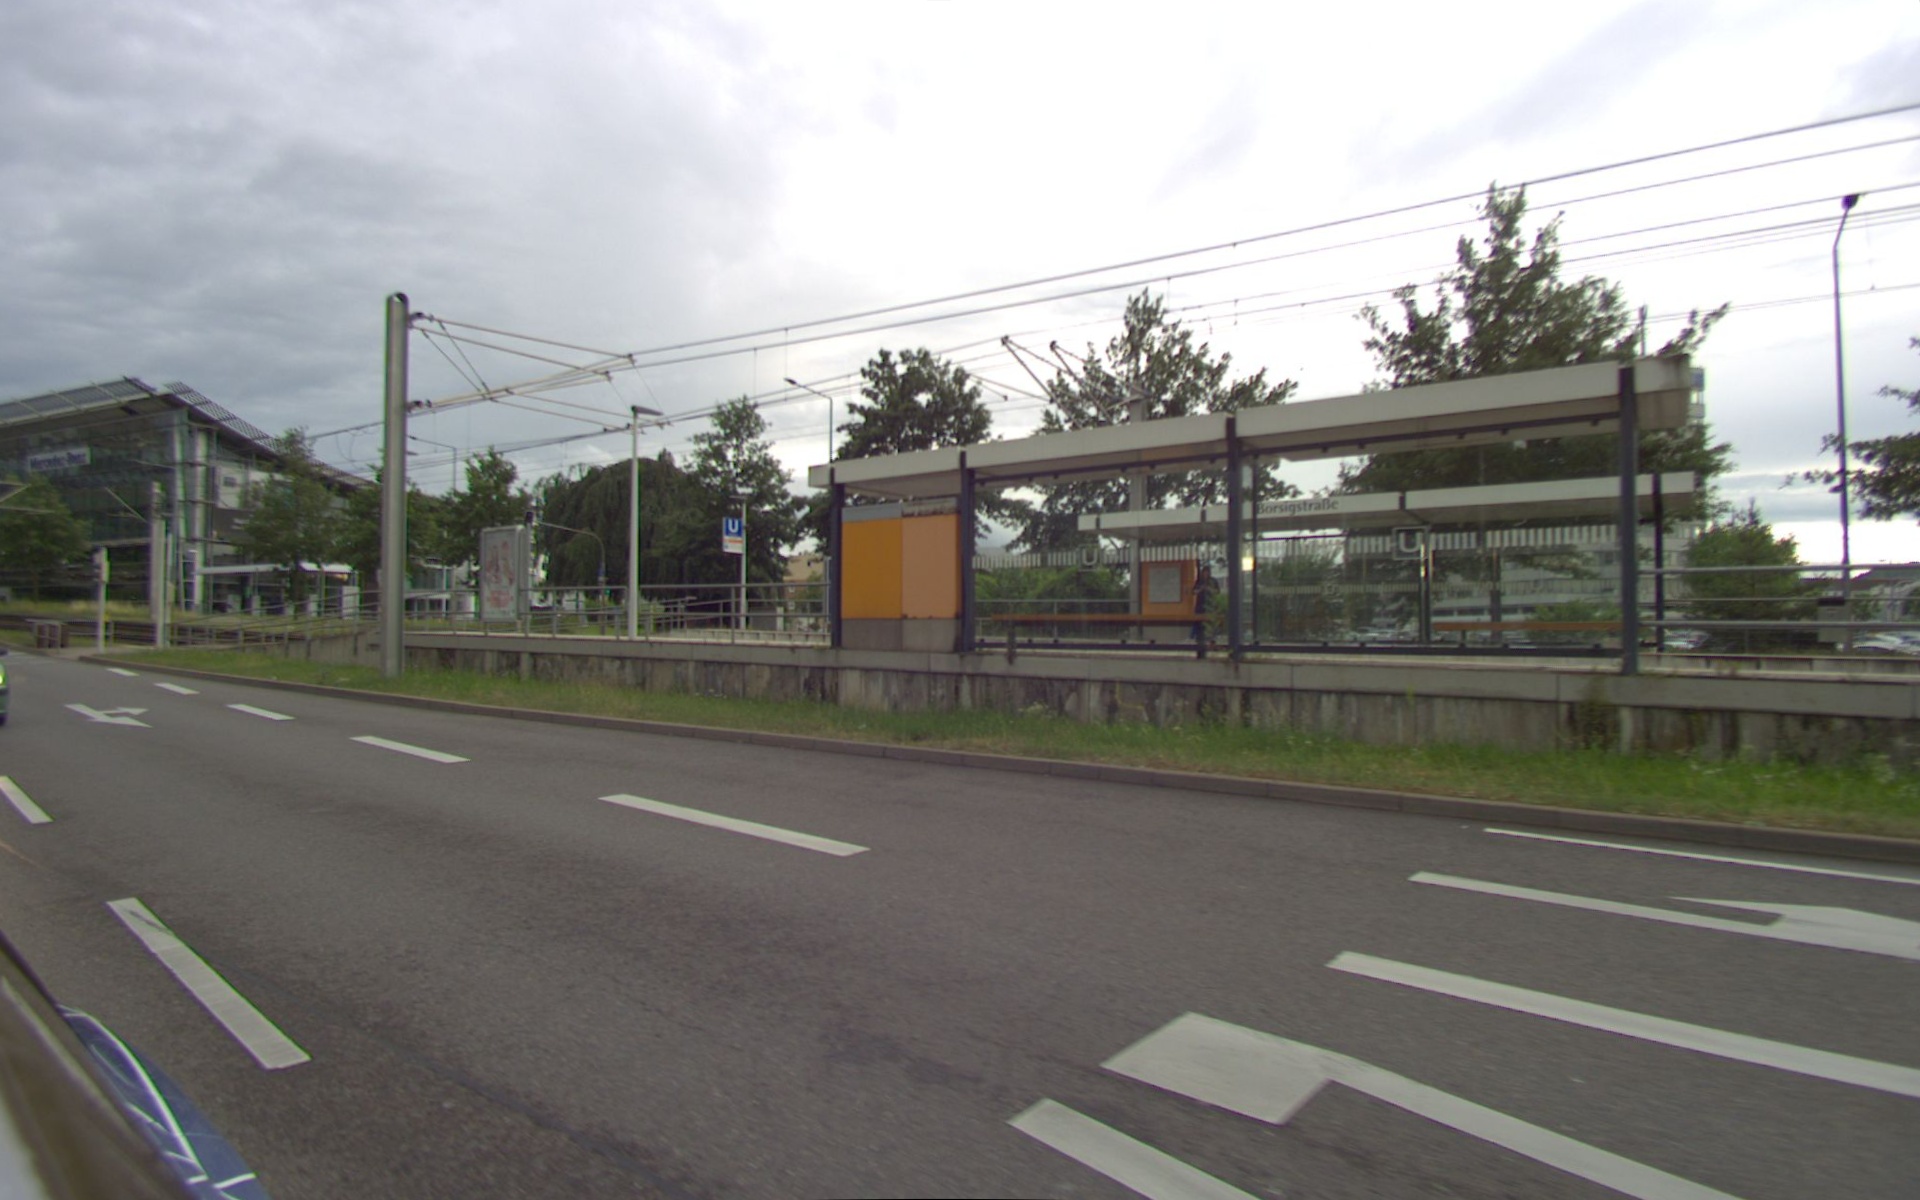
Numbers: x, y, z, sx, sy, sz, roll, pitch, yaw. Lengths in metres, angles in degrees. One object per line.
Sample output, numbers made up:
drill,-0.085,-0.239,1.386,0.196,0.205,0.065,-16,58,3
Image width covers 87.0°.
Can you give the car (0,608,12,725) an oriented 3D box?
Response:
car,-14.334,0.875,13.663,4.399,1.479,1.678,-1,0,39
